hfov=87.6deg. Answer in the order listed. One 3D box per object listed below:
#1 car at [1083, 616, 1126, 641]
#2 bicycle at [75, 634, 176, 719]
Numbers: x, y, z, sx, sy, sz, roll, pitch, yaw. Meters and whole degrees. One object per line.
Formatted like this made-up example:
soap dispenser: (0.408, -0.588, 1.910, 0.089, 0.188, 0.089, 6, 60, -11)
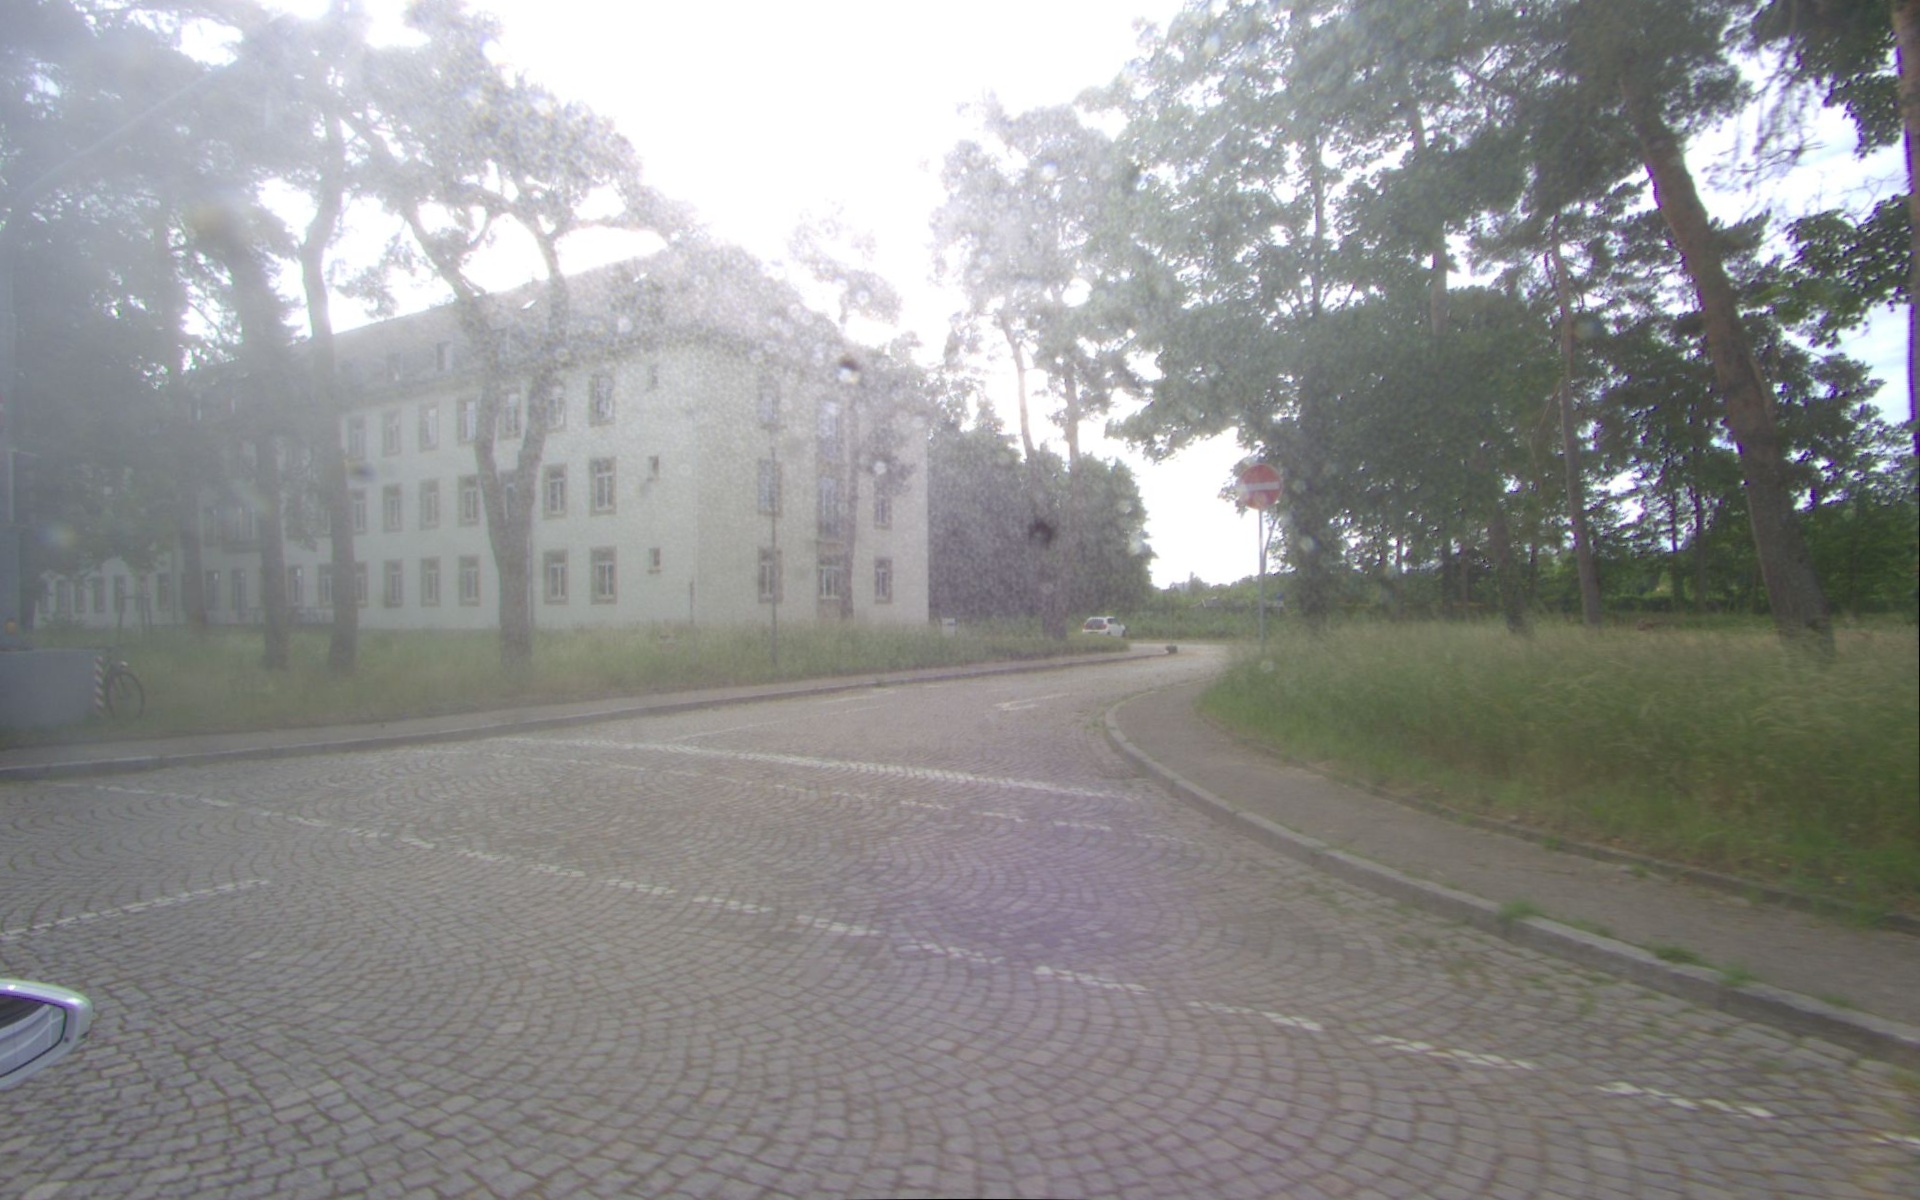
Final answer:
car: (8.599, 1.685, 59.424, 1.466, 1.455, 3.181, -1, -2, 31)
bicycle: (-11.060, 0.983, 13.257, 1.654, 0.983, 0.579, 1, 3, 34)
